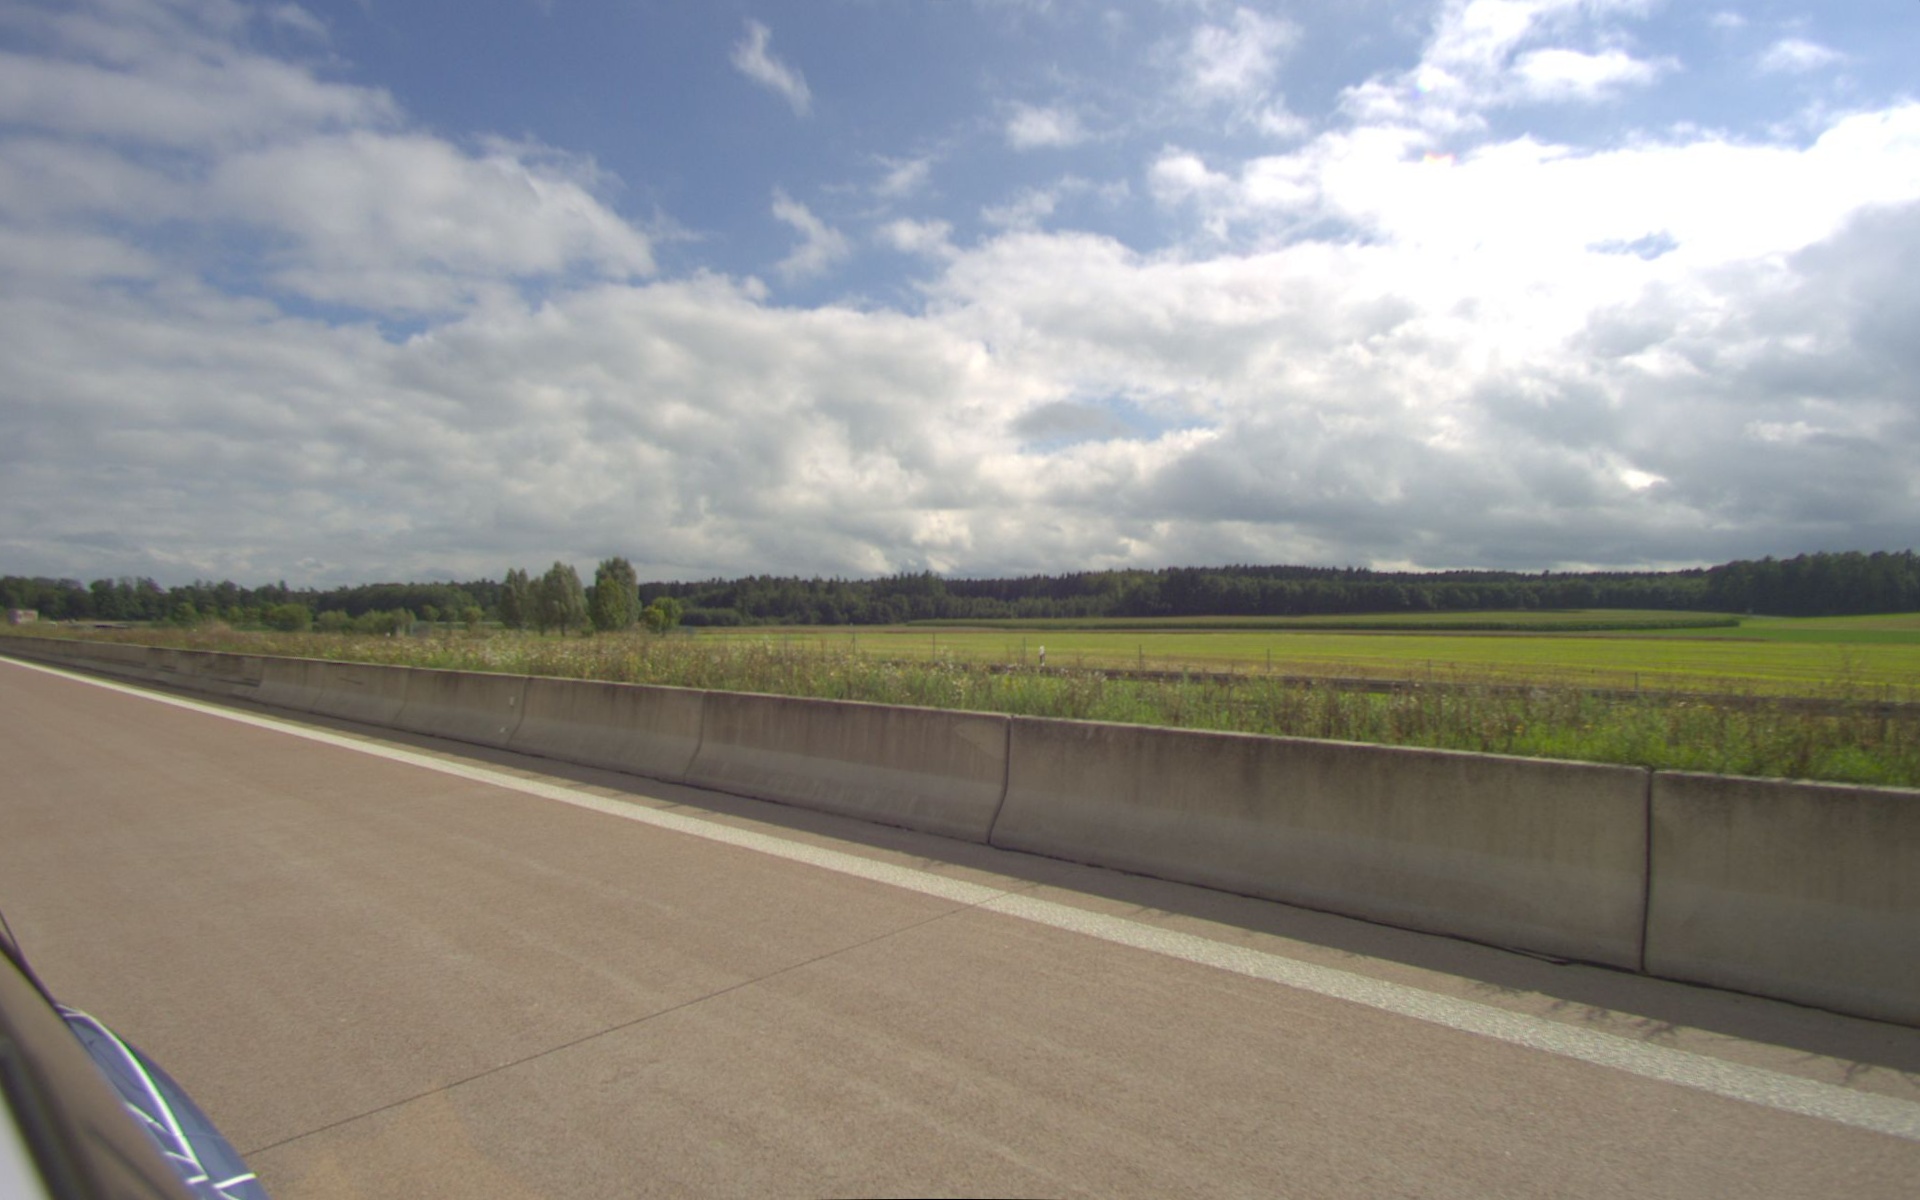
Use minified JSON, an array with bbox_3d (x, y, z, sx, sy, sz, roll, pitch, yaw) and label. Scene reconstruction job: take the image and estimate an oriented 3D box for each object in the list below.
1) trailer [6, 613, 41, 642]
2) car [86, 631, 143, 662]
[{"bbox_3d":[-143.860,4.196,155.383,12.092,4.296,2.989,-2,-1,42],"label":"trailer"},{"bbox_3d":[-52.201,2.827,62.445,5.273,1.860,1.972,-1,-2,42],"label":"car"}]
